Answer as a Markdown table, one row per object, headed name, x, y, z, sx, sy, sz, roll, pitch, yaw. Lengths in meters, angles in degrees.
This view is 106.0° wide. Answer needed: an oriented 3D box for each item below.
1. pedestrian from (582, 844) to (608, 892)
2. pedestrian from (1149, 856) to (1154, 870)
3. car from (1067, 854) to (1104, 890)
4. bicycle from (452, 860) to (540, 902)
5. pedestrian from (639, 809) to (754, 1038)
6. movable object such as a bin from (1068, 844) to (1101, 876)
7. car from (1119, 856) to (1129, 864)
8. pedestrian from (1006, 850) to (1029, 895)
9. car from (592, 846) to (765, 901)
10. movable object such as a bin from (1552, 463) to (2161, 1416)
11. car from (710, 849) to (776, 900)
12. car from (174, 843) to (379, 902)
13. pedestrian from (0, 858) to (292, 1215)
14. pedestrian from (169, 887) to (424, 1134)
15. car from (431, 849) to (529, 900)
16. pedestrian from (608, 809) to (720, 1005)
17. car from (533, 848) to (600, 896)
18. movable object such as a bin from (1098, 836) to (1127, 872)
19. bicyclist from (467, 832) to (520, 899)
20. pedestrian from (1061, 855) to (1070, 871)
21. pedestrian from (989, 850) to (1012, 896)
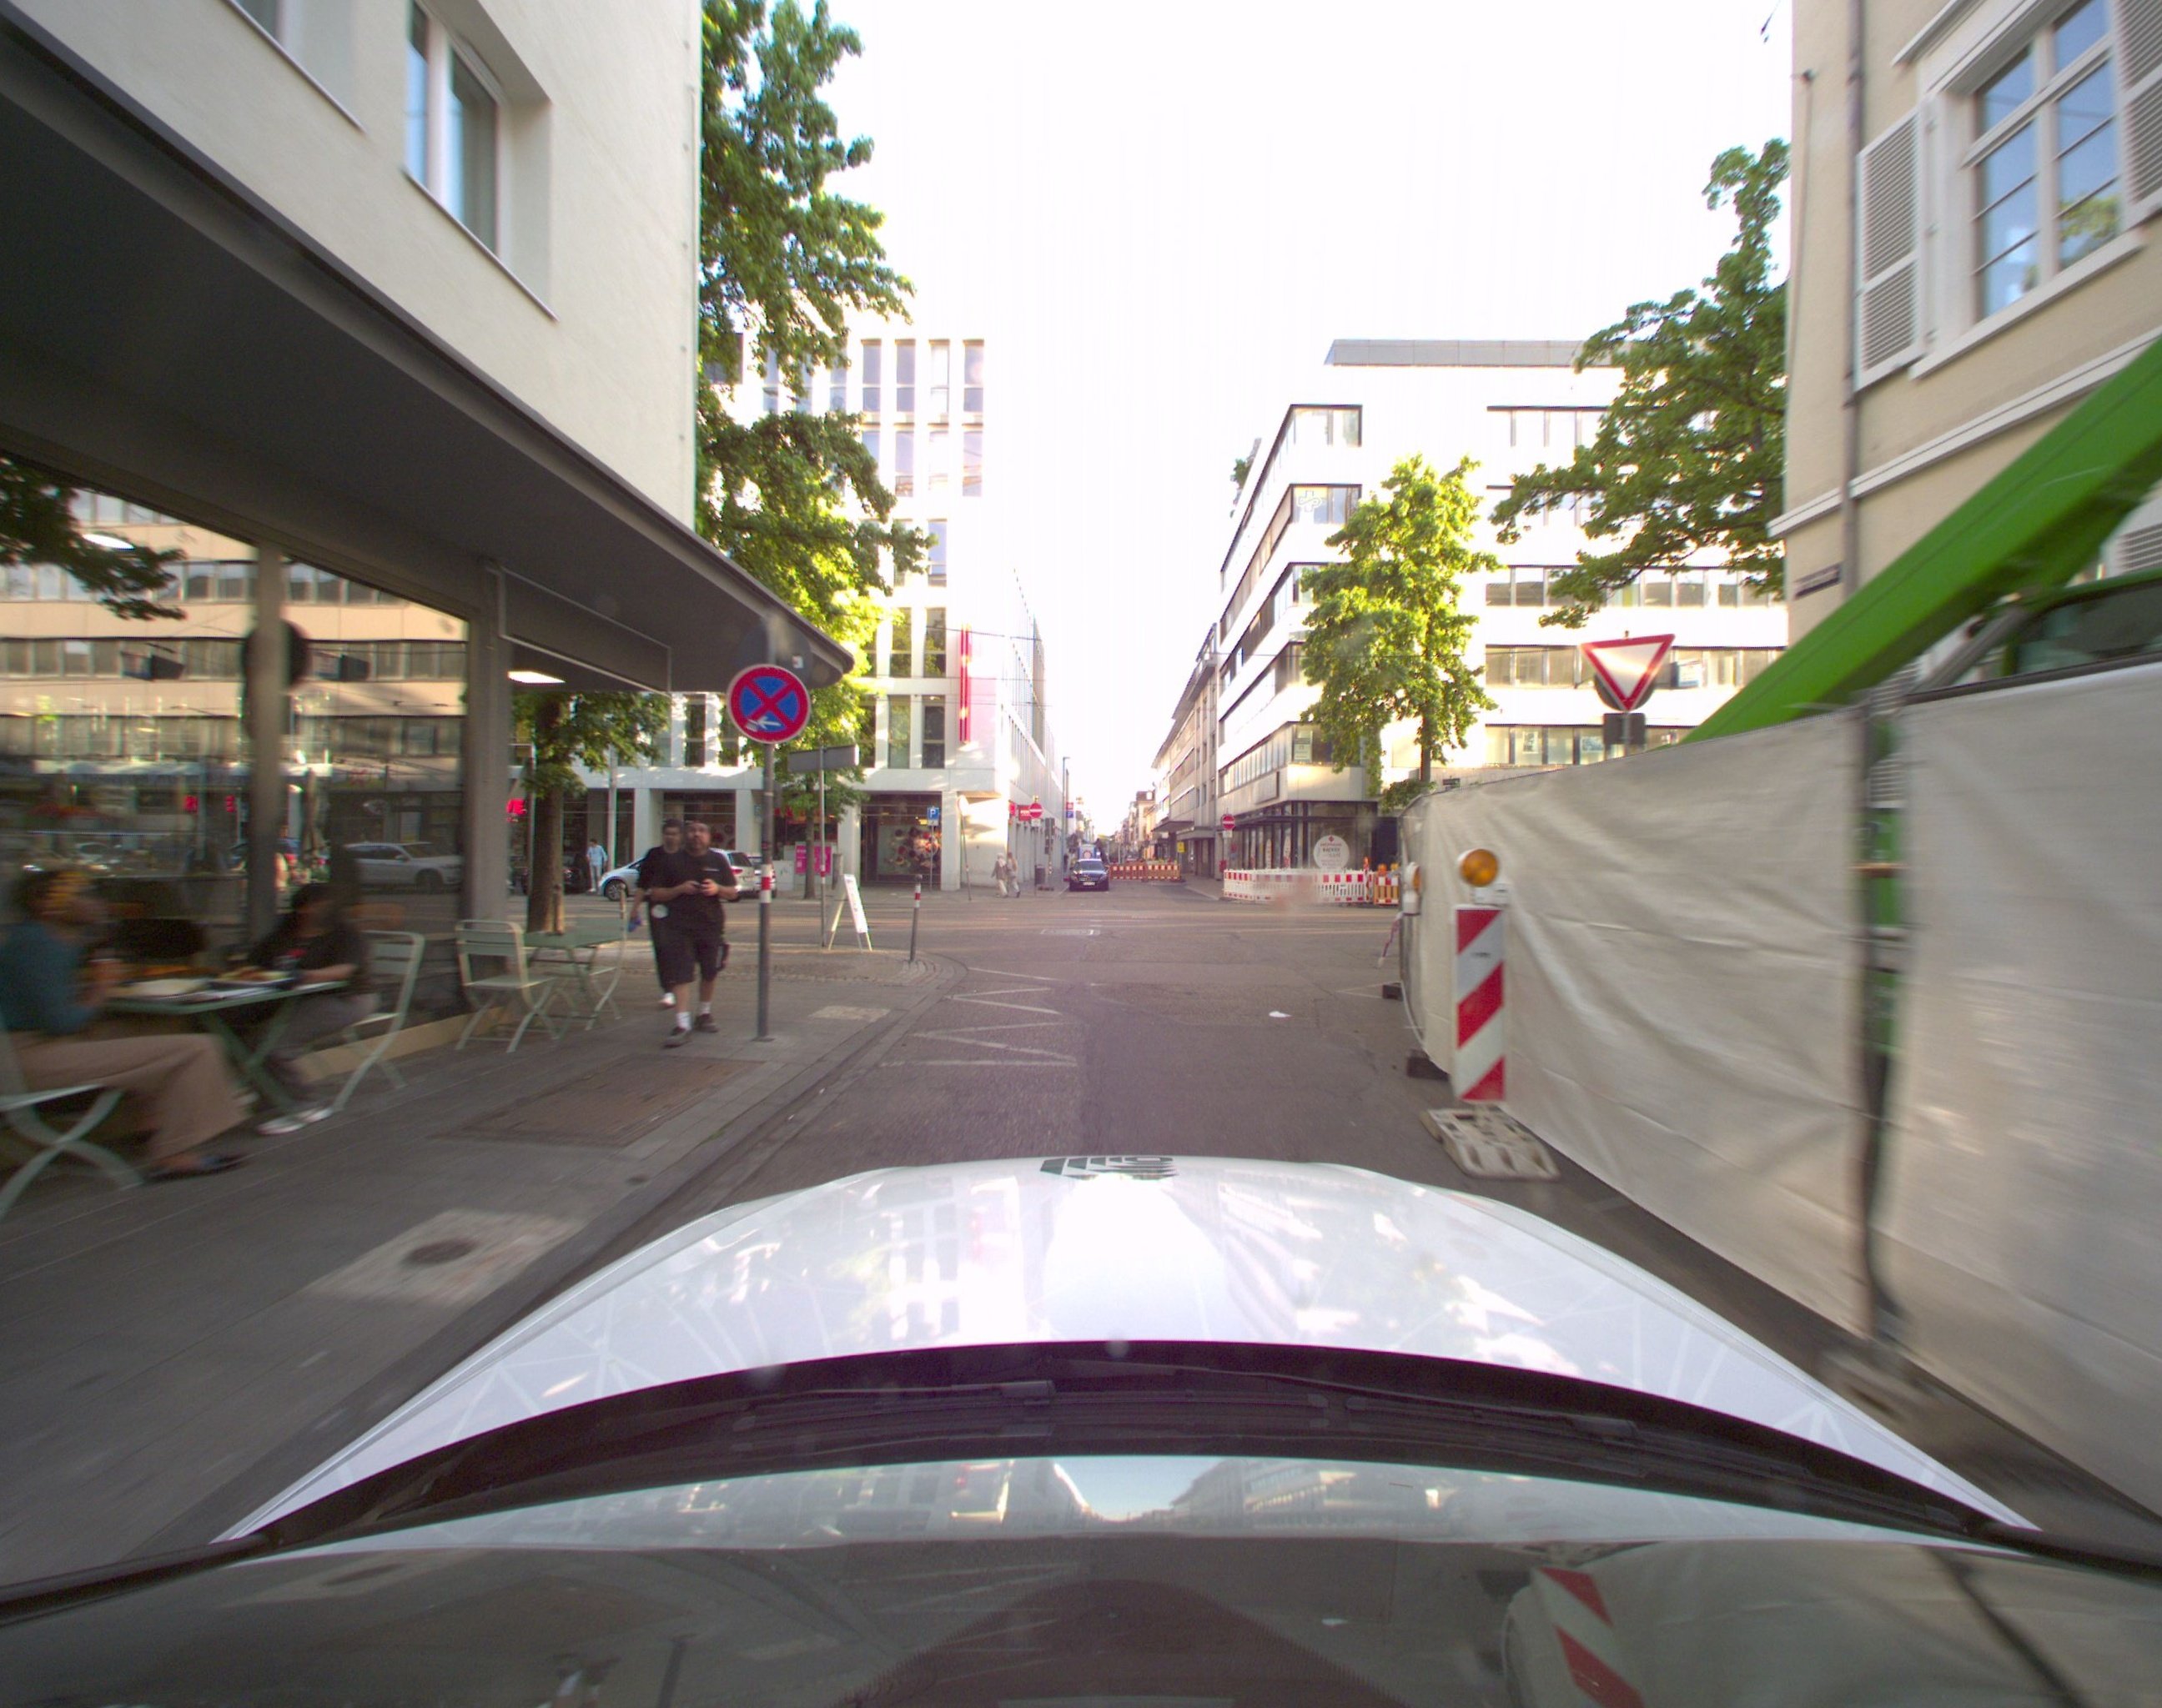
| name | x | y | z | sx | sy | sz | roll | pitch | yaw |
| --- | --- | --- | --- | --- | --- | --- | --- | --- | --- |
| pedestrian | -16.598 | 0.479 | 27.818 | 0.641 | 1.627 | 0.639 | 1 | 0 | -19 |
| pedestrian | 7.759 | 0.989 | 89.328 | 0.520 | 1.464 | 0.720 | 0 | 0 | 9 |
| car | 0.175 | 0.802 | 37.694 | 1.625 | 1.550 | 3.140 | -1 | 0 | -2 |
| bicycle | -16.580 | 0.765 | 23.098 | 2.044 | 1.151 | 0.512 | 0 | 0 | -3 |
| pedestrian | -2.943 | 0.517 | 6.283 | 0.687 | 1.668 | 0.503 | 2 | -1 | -18 |
| movable object such as a bin | 0.247 | 0.381 | 52.831 | 1.986 | 2.013 | 4.002 | -1 | 0 | 2 |
| car | 9.292 | 1.258 | 176.663 | 1.986 | 1.776 | 4.001 | -1 | 0 | 2 |
| pedestrian | -2.324 | 0.676 | 29.834 | 0.612 | 1.627 | 0.867 | -1 | 0 | -21 |
| car | -12.088 | 0.612 | 24.687 | 4.259 | 1.593 | 1.826 | 0 | -2 | -2 |
| movable object such as a bin | 4.546 | 0.245 | 3.458 | 2.595 | 2.839 | 4.452 | -1 | 0 | 2 |
| car | -11.865 | 0.657 | 28.468 | 1.954 | 1.505 | 3.965 | 0 | 2 | -25 |
| car | -24.559 | 0.575 | 24.984 | 4.259 | 1.738 | 1.867 | 0 | -2 | -2 |
| pedestrian | -3.954 | 0.668 | 3.333 | 0.699 | 1.275 | 0.714 | 2 | 0 | 1 |
| pedestrian | -3.985 | 0.752 | 4.195 | 0.571 | 1.114 | 0.714 | 2 | 0 | 2 |
| car | -20.623 | 0.635 | 28.133 | 1.954 | 1.505 | 3.965 | 0 | 2 | -25 |
| pedestrian | -3.798 | 0.461 | 7.505 | 0.799 | 1.668 | 0.895 | 2 | -1 | -23 |
| car | -18.458 | 0.604 | 29.355 | 1.593 | 1.505 | 3.563 | 0 | 2 | -25 |
| movable object such as a bin | 2.421 | 0.034 | 62.775 | 2.149 | 2.664 | 4.574 | 0 | 0 | 1 |
| bicyclist | -16.646 | 0.325 | 23.078 | 0.985 | 1.855 | 0.654 | 0 | -1 | -1 |
| pedestrian | -1.431 | 0.853 | 74.368 | 0.713 | 1.464 | 0.526 | -1 | 0 | 4 |
| pedestrian | -2.933 | 0.685 | 29.606 | 0.612 | 1.627 | 0.867 | -1 | 0 | -21 |
